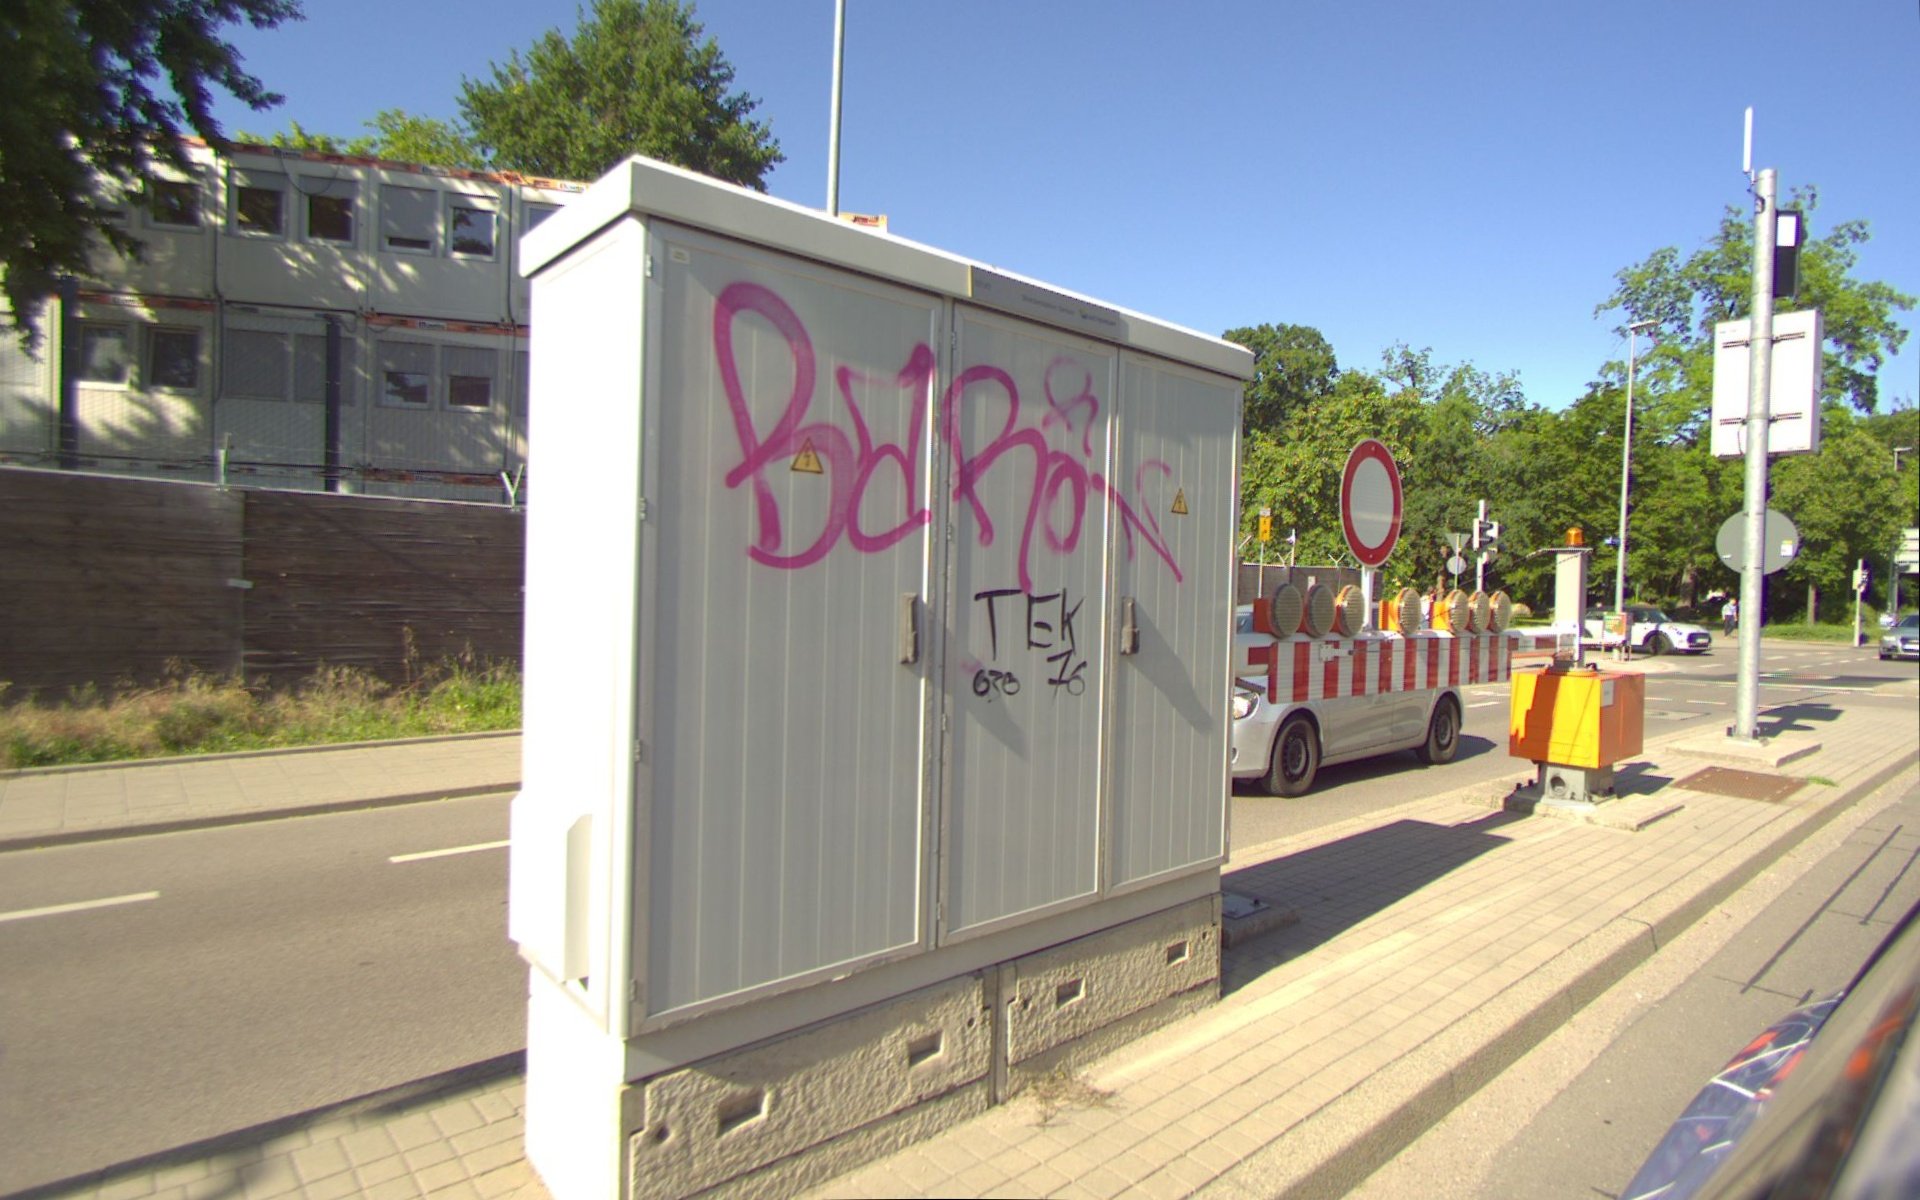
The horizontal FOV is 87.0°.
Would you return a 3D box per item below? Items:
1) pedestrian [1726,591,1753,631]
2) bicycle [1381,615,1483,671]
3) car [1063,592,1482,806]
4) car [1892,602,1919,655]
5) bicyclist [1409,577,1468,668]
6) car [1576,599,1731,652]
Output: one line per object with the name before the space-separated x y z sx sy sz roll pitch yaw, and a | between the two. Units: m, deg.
pedestrian | 34.757 0.498 45.137 0.699 1.772 0.647 0 0 1
bicycle | 9.367 0.840 20.159 0.482 0.912 1.865 1 3 -30
car | 2.846 0.673 8.788 3.903 1.453 1.670 0 0 -41
car | 28.251 0.810 28.815 4.220 1.419 1.838 0 1 -38
bicyclist | 9.462 0.434 20.028 0.646 1.730 0.701 1 3 -30
car | 21.140 0.732 31.021 1.449 1.419 3.752 1 1 -19
